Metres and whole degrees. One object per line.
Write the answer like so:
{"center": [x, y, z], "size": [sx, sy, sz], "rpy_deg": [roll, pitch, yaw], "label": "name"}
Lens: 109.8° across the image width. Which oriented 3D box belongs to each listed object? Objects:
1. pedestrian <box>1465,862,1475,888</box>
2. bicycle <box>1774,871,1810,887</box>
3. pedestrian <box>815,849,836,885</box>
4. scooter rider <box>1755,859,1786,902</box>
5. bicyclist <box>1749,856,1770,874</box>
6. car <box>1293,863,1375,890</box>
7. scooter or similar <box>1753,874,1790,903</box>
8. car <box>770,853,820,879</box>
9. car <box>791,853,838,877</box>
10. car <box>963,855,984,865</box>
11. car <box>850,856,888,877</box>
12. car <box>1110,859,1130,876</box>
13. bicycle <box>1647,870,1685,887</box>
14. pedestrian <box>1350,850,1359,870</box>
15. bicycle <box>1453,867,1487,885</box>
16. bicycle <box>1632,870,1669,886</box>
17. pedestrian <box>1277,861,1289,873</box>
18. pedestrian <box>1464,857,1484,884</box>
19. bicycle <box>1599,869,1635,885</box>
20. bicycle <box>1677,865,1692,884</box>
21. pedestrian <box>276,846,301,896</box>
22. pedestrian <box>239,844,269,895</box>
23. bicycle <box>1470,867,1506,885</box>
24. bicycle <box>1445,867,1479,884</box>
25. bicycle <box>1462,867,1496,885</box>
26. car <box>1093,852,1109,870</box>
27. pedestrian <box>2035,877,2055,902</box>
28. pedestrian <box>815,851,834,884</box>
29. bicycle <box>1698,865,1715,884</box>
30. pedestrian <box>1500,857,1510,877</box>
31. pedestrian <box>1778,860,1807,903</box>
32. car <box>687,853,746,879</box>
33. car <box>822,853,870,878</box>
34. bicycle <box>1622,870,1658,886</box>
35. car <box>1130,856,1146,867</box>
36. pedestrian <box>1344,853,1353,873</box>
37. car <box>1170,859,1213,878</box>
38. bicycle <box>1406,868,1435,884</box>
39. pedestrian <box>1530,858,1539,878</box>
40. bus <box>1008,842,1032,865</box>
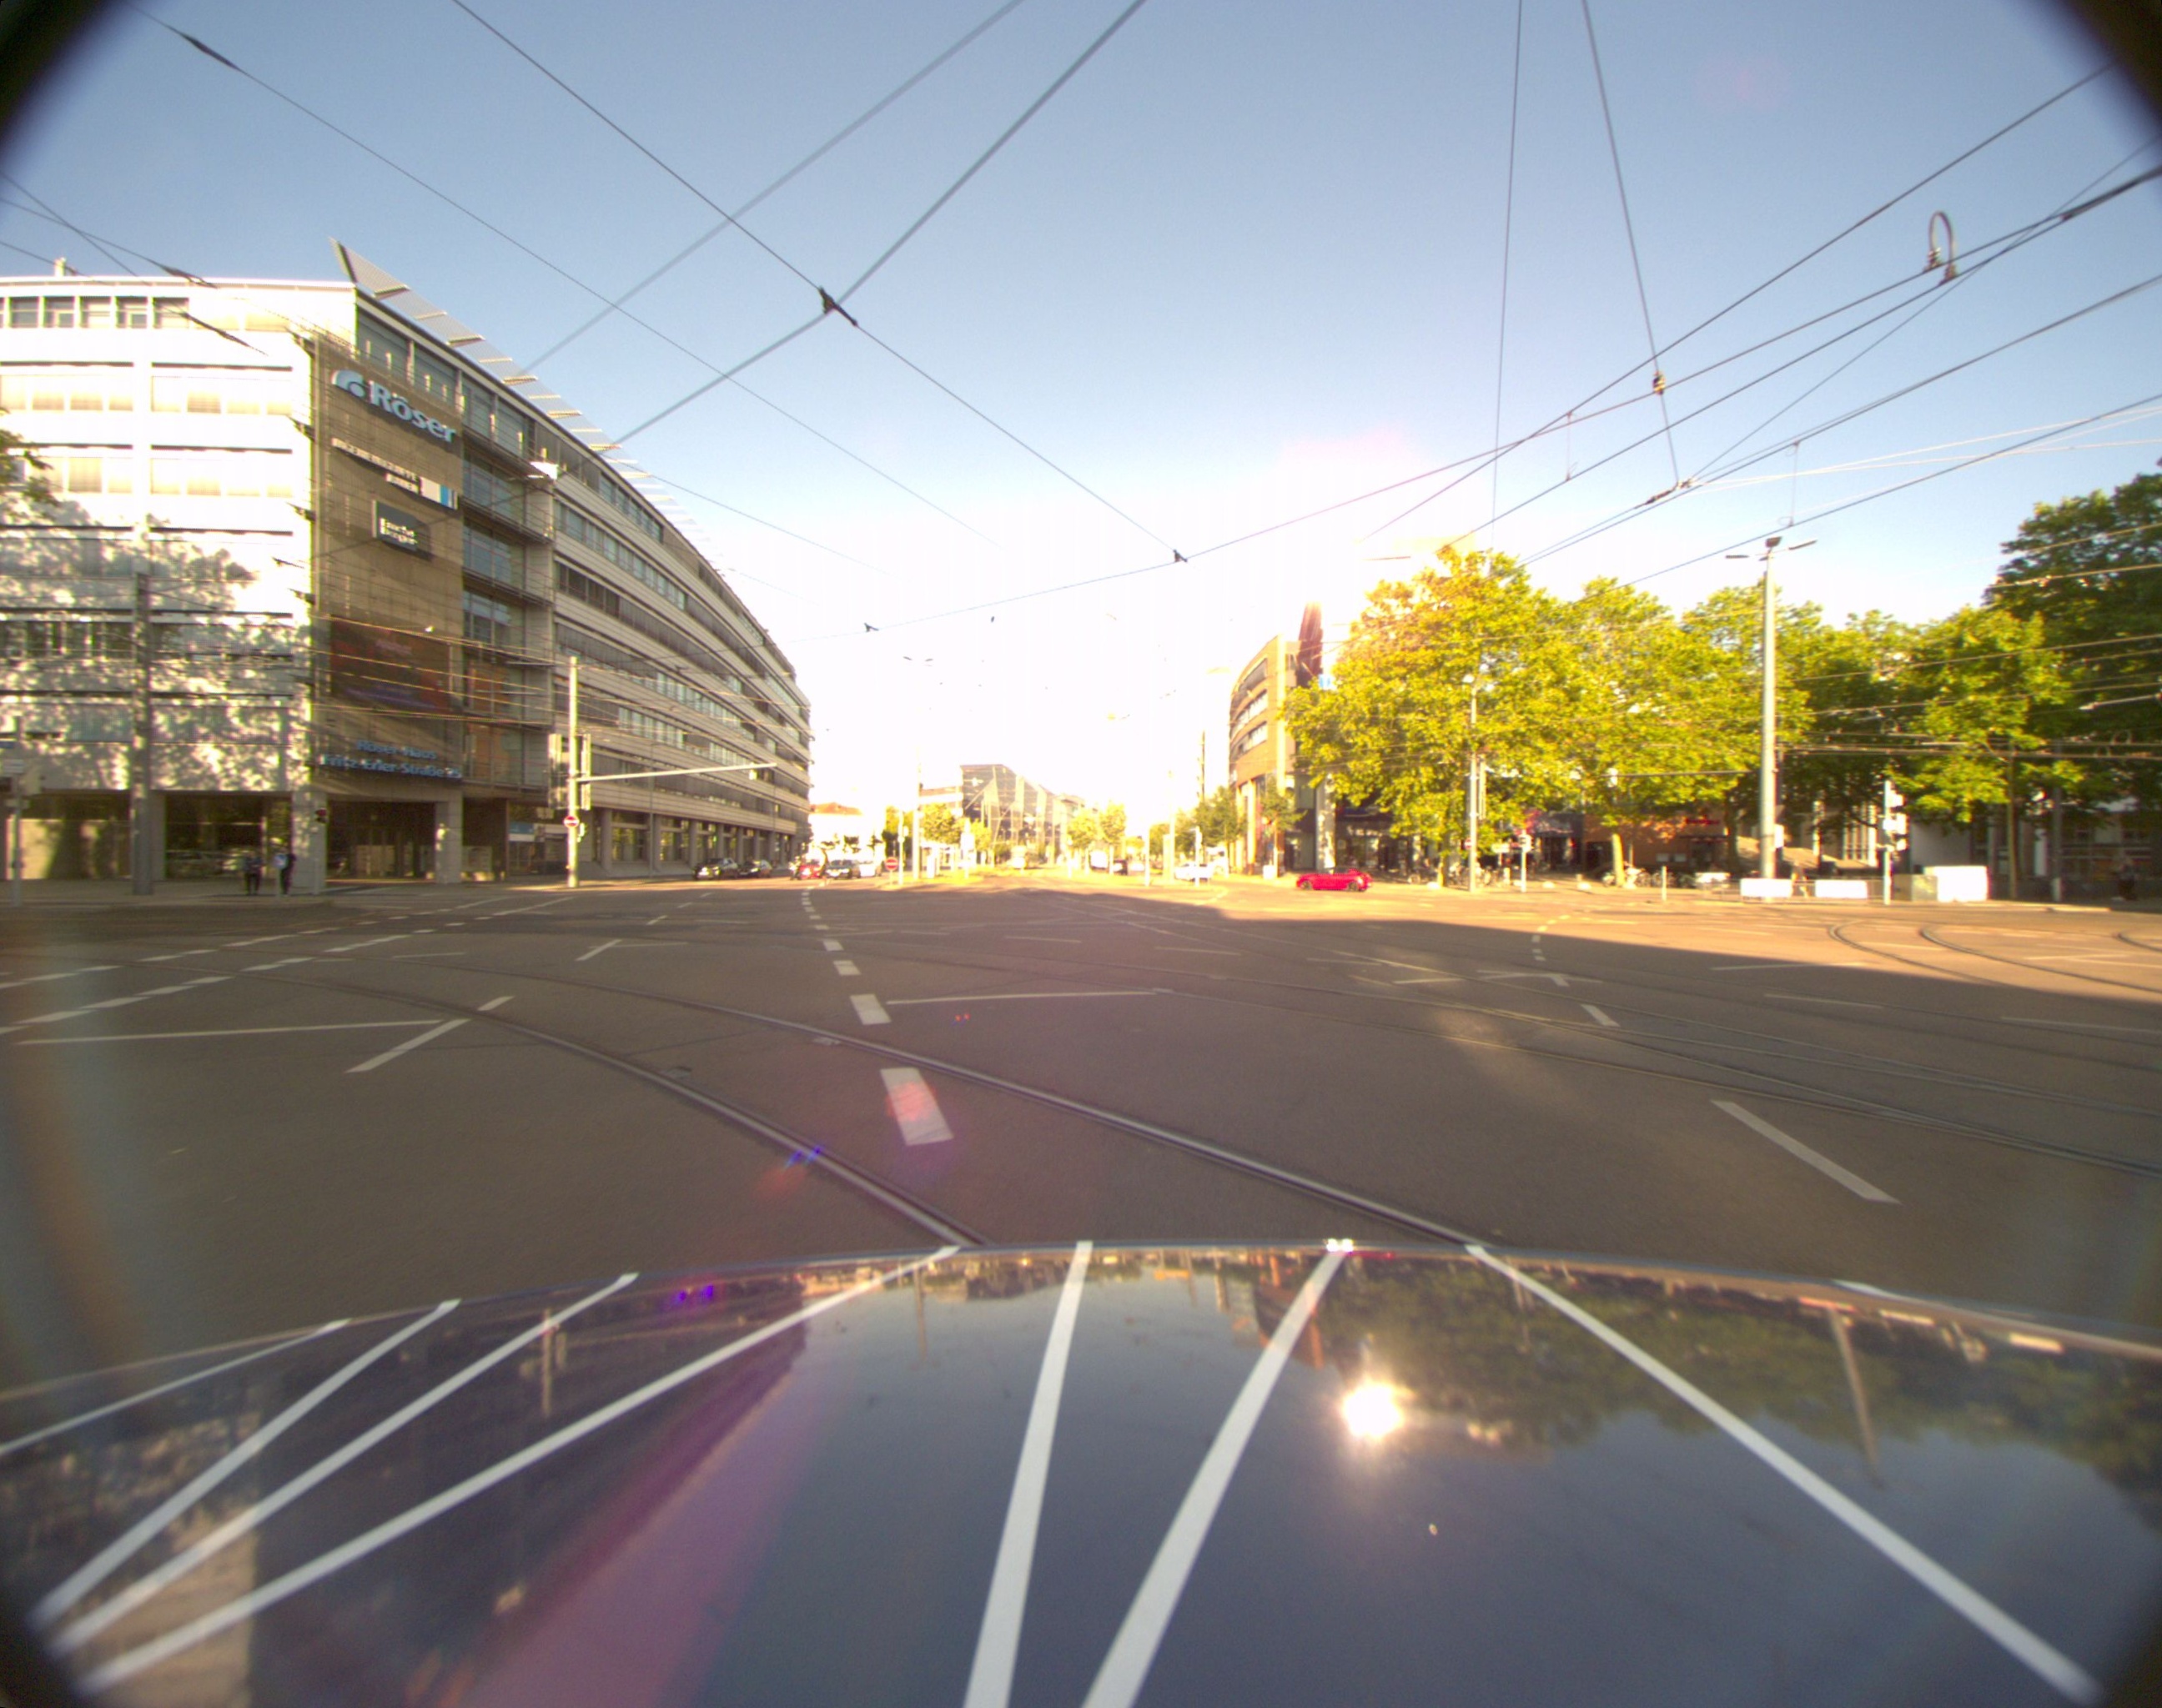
{"center": [22.665, 1.211, 44.313], "size": [0.483, 1.529, 0.574], "rpy_deg": [1, 0, 29], "label": "pedestrian"}
{"center": [46.693, 1.644, 49.877], "size": [1.946, 1.057, 0.578], "rpy_deg": [1, 0, -6], "label": "bicycle"}
{"center": [-13.159, 0.658, 39.134], "size": [0.968, 1.832, 0.697], "rpy_deg": [0, 1, -27], "label": "pedestrian"}
{"center": [29.493, 1.129, 32.501], "size": [0.588, 1.822, 0.763], "rpy_deg": [1, 1, -2], "label": "scooter rider"}
{"center": [51.025, 0.854, 57.159], "size": [0.956, 1.336, 0.676], "rpy_deg": [1, 1, 20], "label": "bicyclist"}
{"center": [14.015, 1.237, 42.117], "size": [3.989, 1.419, 1.696], "rpy_deg": [0, -1, 32], "label": "car"}
{"center": [29.526, 1.460, 32.502], "size": [0.455, 1.172, 1.160], "rpy_deg": [1, 0, -1], "label": "scooter or similar"}
{"center": [-18.864, 0.792, 50.253], "size": [1.903, 1.611, 3.866], "rpy_deg": [0, -1, -1], "label": "car"}
{"center": [-18.994, 0.792, 54.381], "size": [1.903, 1.611, 4.172], "rpy_deg": [0, -1, -1], "label": "car"}
{"center": [-22.531, 1.264, 159.337], "size": [4.004, 1.849, 1.996], "rpy_deg": [1, 0, -21], "label": "car"}
{"center": [-16.682, 1.012, 59.984], "size": [1.903, 1.611, 4.172], "rpy_deg": [0, -1, -1], "label": "car"}
{"center": [3.961, 1.392, 77.667], "size": [1.618, 1.593, 4.175], "rpy_deg": [3, -1, -3], "label": "car"}
{"center": [37.905, 1.560, 49.220], "size": [1.946, 1.057, 0.783], "rpy_deg": [1, 0, -6], "label": "bicycle"}
{"center": [23.362, 0.504, 64.931], "size": [0.594, 1.647, 0.593], "rpy_deg": [1, 1, 12], "label": "pedestrian"}
{"center": [25.095, 1.389, 49.002], "size": [1.844, 1.123, 0.775], "rpy_deg": [1, 0, -11], "label": "bicycle"}
{"center": [37.618, 1.576, 50.189], "size": [1.946, 1.057, 0.783], "rpy_deg": [1, 0, -6], "label": "bicycle"}
{"center": [18.775, 1.206, 70.645], "size": [0.778, 1.075, 0.680], "rpy_deg": [1, 0, -18], "label": "pedestrian"}
{"center": [26.039, 1.105, 50.339], "size": [0.893, 1.754, 0.731], "rpy_deg": [1, -1, -7], "label": "pedestrian"}
{"center": [36.780, 1.605, 52.135], "size": [1.946, 1.057, 0.783], "rpy_deg": [1, 0, -6], "label": "bicycle"}
{"center": [40.434, 1.349, 50.915], "size": [0.781, 1.182, 3.566], "rpy_deg": [1, 0, 38], "label": "bicycle"}
{"center": [-28.832, 0.624, 27.652], "size": [0.547, 1.813, 0.373], "rpy_deg": [0, 1, -29], "label": "pedestrian"}
{"center": [-29.656, 0.552, 27.246], "size": [0.590, 1.813, 0.543], "rpy_deg": [0, 1, -29], "label": "pedestrian"}
{"center": [25.370, 1.361, 47.361], "size": [1.844, 1.123, 0.775], "rpy_deg": [1, 0, -11], "label": "bicycle"}
{"center": [24.969, 1.403, 49.813], "size": [1.844, 1.123, 0.775], "rpy_deg": [1, 0, -11], "label": "bicycle"}
{"center": [25.224, 1.375, 48.185], "size": [1.844, 1.123, 0.775], "rpy_deg": [1, 0, -11], "label": "bicycle"}
{"center": [2.894, 1.067, 111.193], "size": [1.999, 2.465, 5.975], "rpy_deg": [0, -1, -1], "label": "car"}
{"center": [40.846, 1.504, 32.194], "size": [0.379, 1.026, 0.405], "rpy_deg": [1, 1, -13], "label": "pedestrian"}
{"center": [-13.440, 0.700, 39.786], "size": [0.847, 1.678, 0.646], "rpy_deg": [1, 1, -25], "label": "pedestrian"}
{"center": [41.538, 1.350, 50.497], "size": [0.781, 1.182, 3.566], "rpy_deg": [1, 0, 38], "label": "bicycle"}
{"center": [35.400, 1.108, 63.449], "size": [0.570, 1.659, 0.544], "rpy_deg": [1, 1, 8], "label": "pedestrian"}
{"center": [30.297, 1.162, 32.355], "size": [0.672, 1.785, 0.570], "rpy_deg": [1, 1, 6], "label": "pedestrian"}
{"center": [-23.754, 0.766, 49.740], "size": [1.903, 1.611, 4.172], "rpy_deg": [0, -1, -1], "label": "car"}
{"center": [-15.678, 0.762, 50.920], "size": [1.903, 1.611, 4.524], "rpy_deg": [0, -1, -1], "label": "car"}
{"center": [37.514, 1.590, 50.997], "size": [1.946, 1.057, 0.783], "rpy_deg": [1, 0, -6], "label": "bicycle"}
{"center": [8.267, 1.091, 110.773], "size": [1.864, 1.622, 4.262], "rpy_deg": [1, -1, -3], "label": "car"}
{"center": [22.932, 0.767, 65.142], "size": [0.591, 1.745, 0.596], "rpy_deg": [1, 1, 24], "label": "pedestrian"}
{"center": [8.339, 1.078, 57.434], "size": [1.637, 1.443, 3.994], "rpy_deg": [1, -1, -17], "label": "car"}
{"center": [22.733, 1.496, 50.904], "size": [1.699, 1.030, 0.548], "rpy_deg": [1, 0, -6], "label": "bicycle"}
{"center": [37.775, 1.131, 63.314], "size": [0.542, 1.659, 0.571], "rpy_deg": [1, 1, 23], "label": "pedestrian"}
{"center": [-9.395, 0.009, 116.529], "size": [2.727, 3.387, 9.660], "rpy_deg": [1, -1, -10], "label": "bus"}
